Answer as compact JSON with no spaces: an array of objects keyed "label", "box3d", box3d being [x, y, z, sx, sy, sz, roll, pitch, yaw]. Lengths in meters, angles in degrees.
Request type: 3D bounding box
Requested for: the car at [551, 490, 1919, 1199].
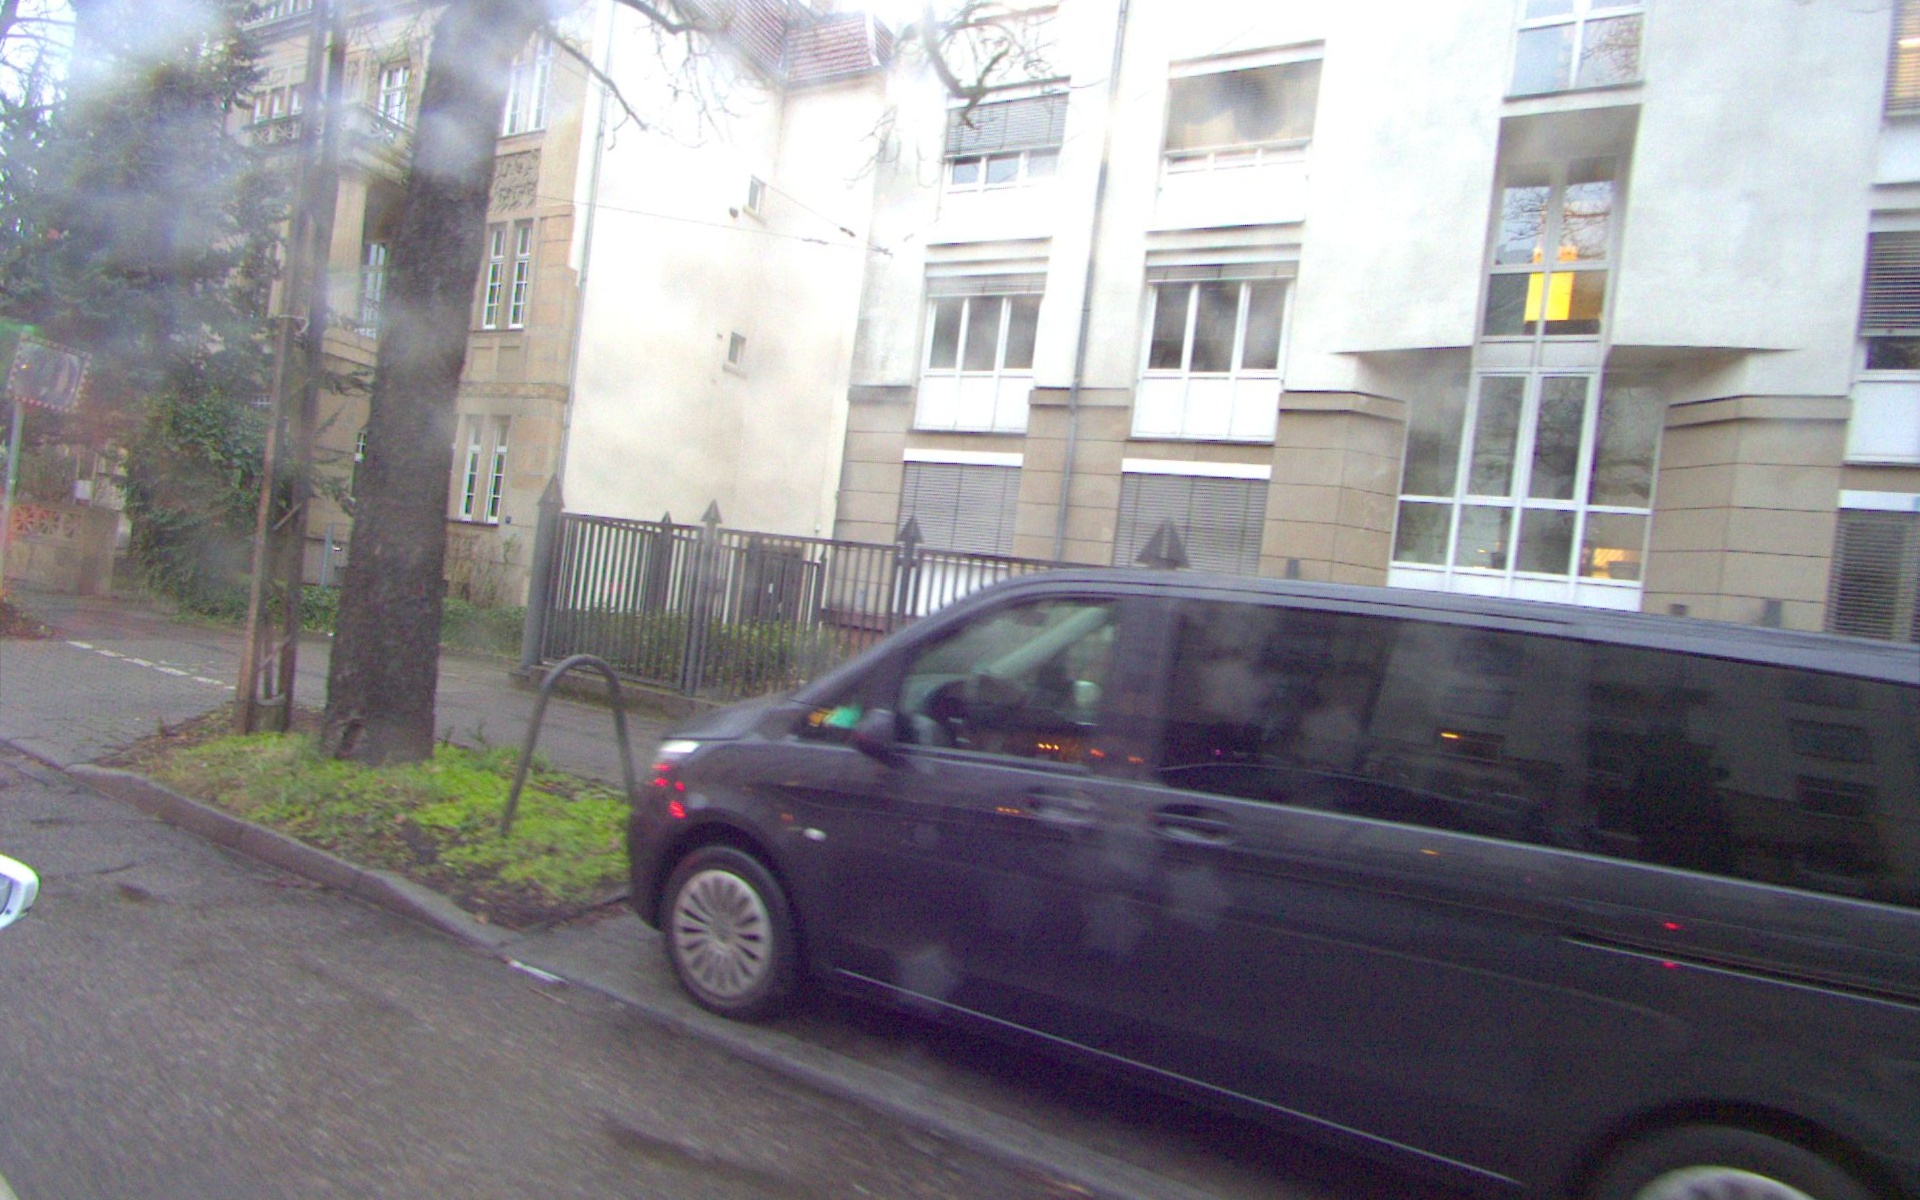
[{"label":"car","box3d":[1.045,0.825,3.856,4.877,1.899,2.035,7,0,28]}]
